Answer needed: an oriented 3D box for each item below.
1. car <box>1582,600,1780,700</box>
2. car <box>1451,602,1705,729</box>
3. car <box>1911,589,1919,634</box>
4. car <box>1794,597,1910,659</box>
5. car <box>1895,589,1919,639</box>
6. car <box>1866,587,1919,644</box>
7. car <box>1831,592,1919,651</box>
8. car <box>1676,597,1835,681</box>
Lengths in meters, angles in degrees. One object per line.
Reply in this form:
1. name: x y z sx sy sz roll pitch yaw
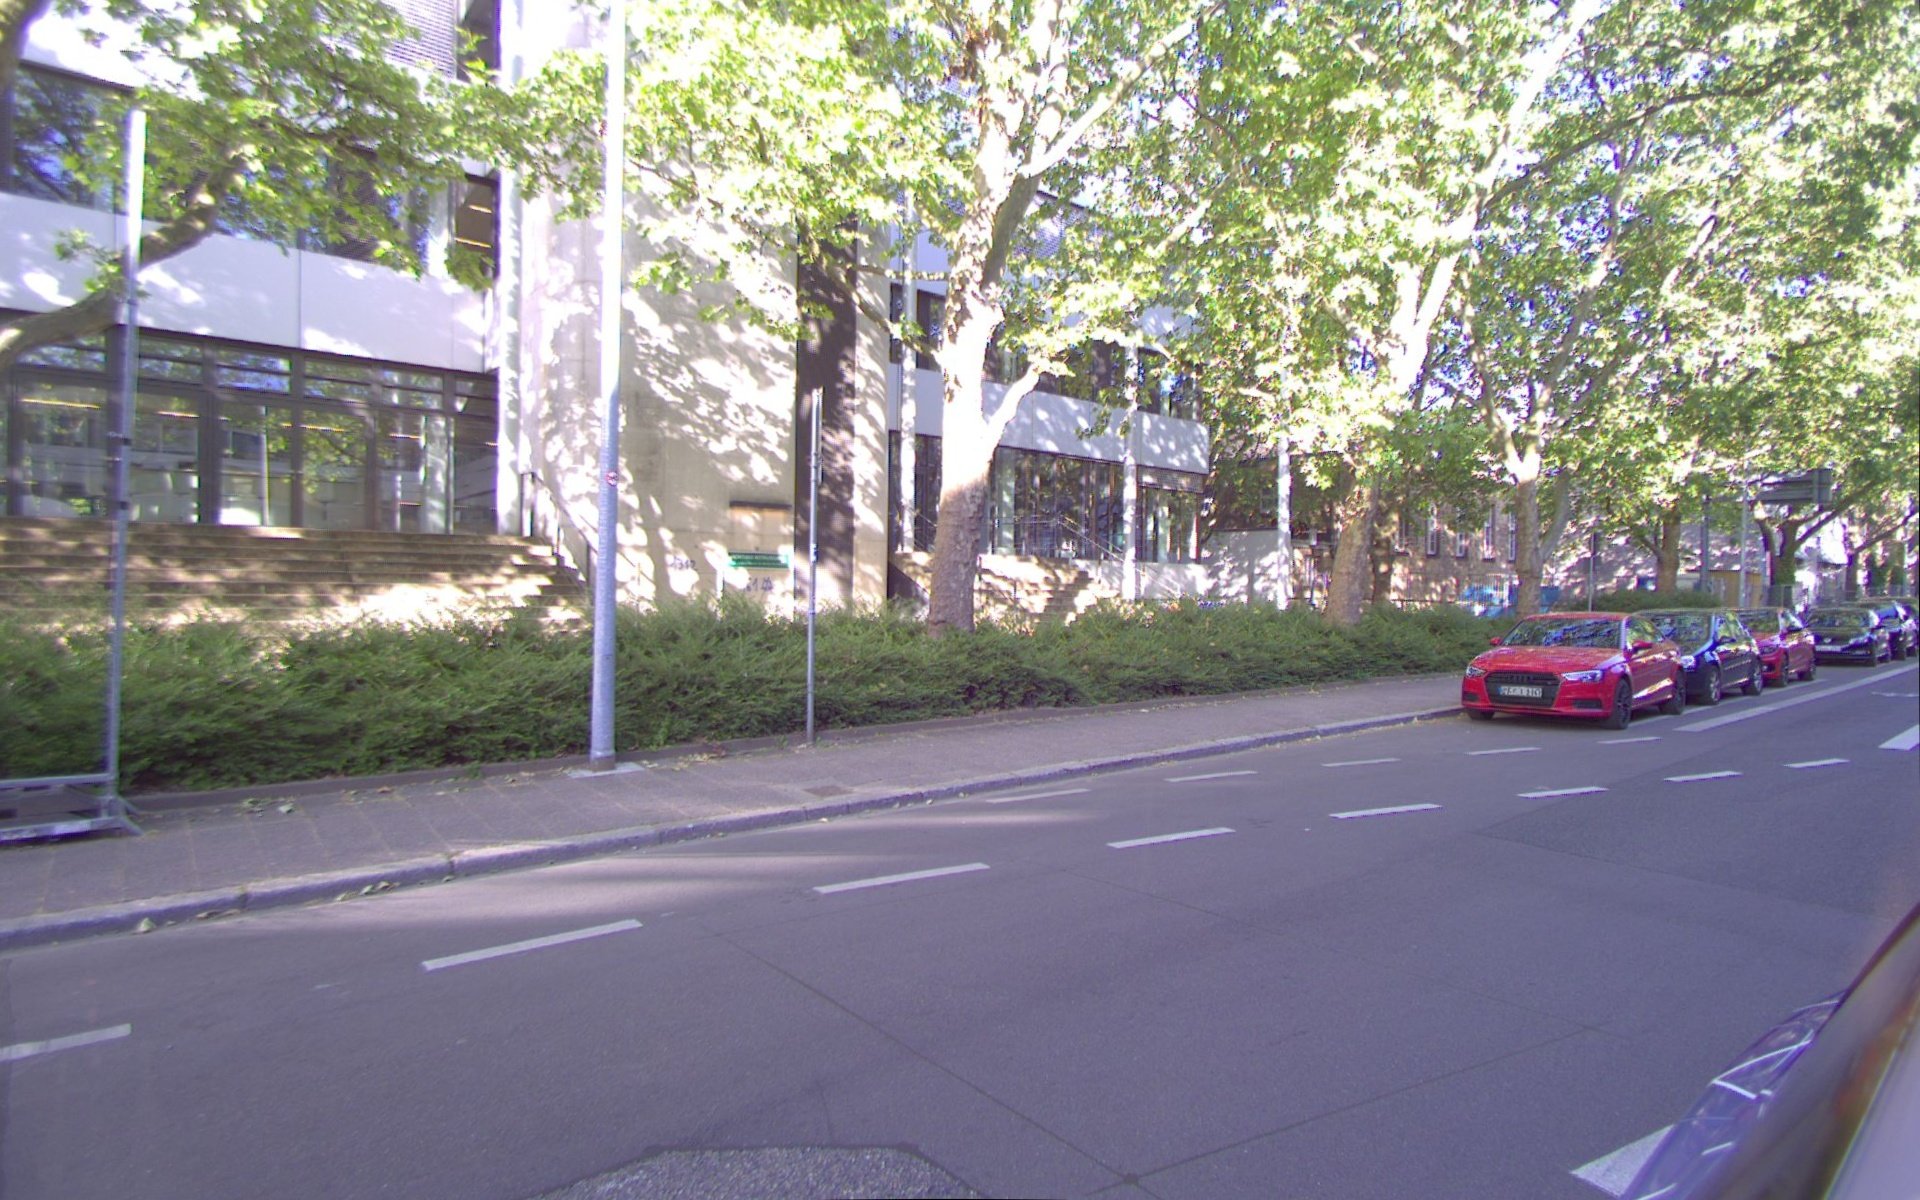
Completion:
1. car: 11.946 0.735 16.682 4.092 1.431 1.815 0 -1 -42
2. car: 8.353 0.750 13.542 4.092 1.431 1.815 0 -1 -42
3. car: 39.618 0.433 40.399 4.475 1.777 2.040 0 -1 -42
4. car: 23.043 0.676 26.097 4.092 1.478 1.788 0 -1 -42
5. car: 35.901 0.479 37.248 4.475 1.777 1.788 0 -1 -42
6. car: 31.048 0.484 33.012 4.271 1.777 1.788 0 -1 -42
7. car: 26.588 0.585 29.129 4.092 1.573 1.788 0 -1 -42
8. car: 15.852 0.697 20.103 4.092 1.502 1.815 0 -1 -42
